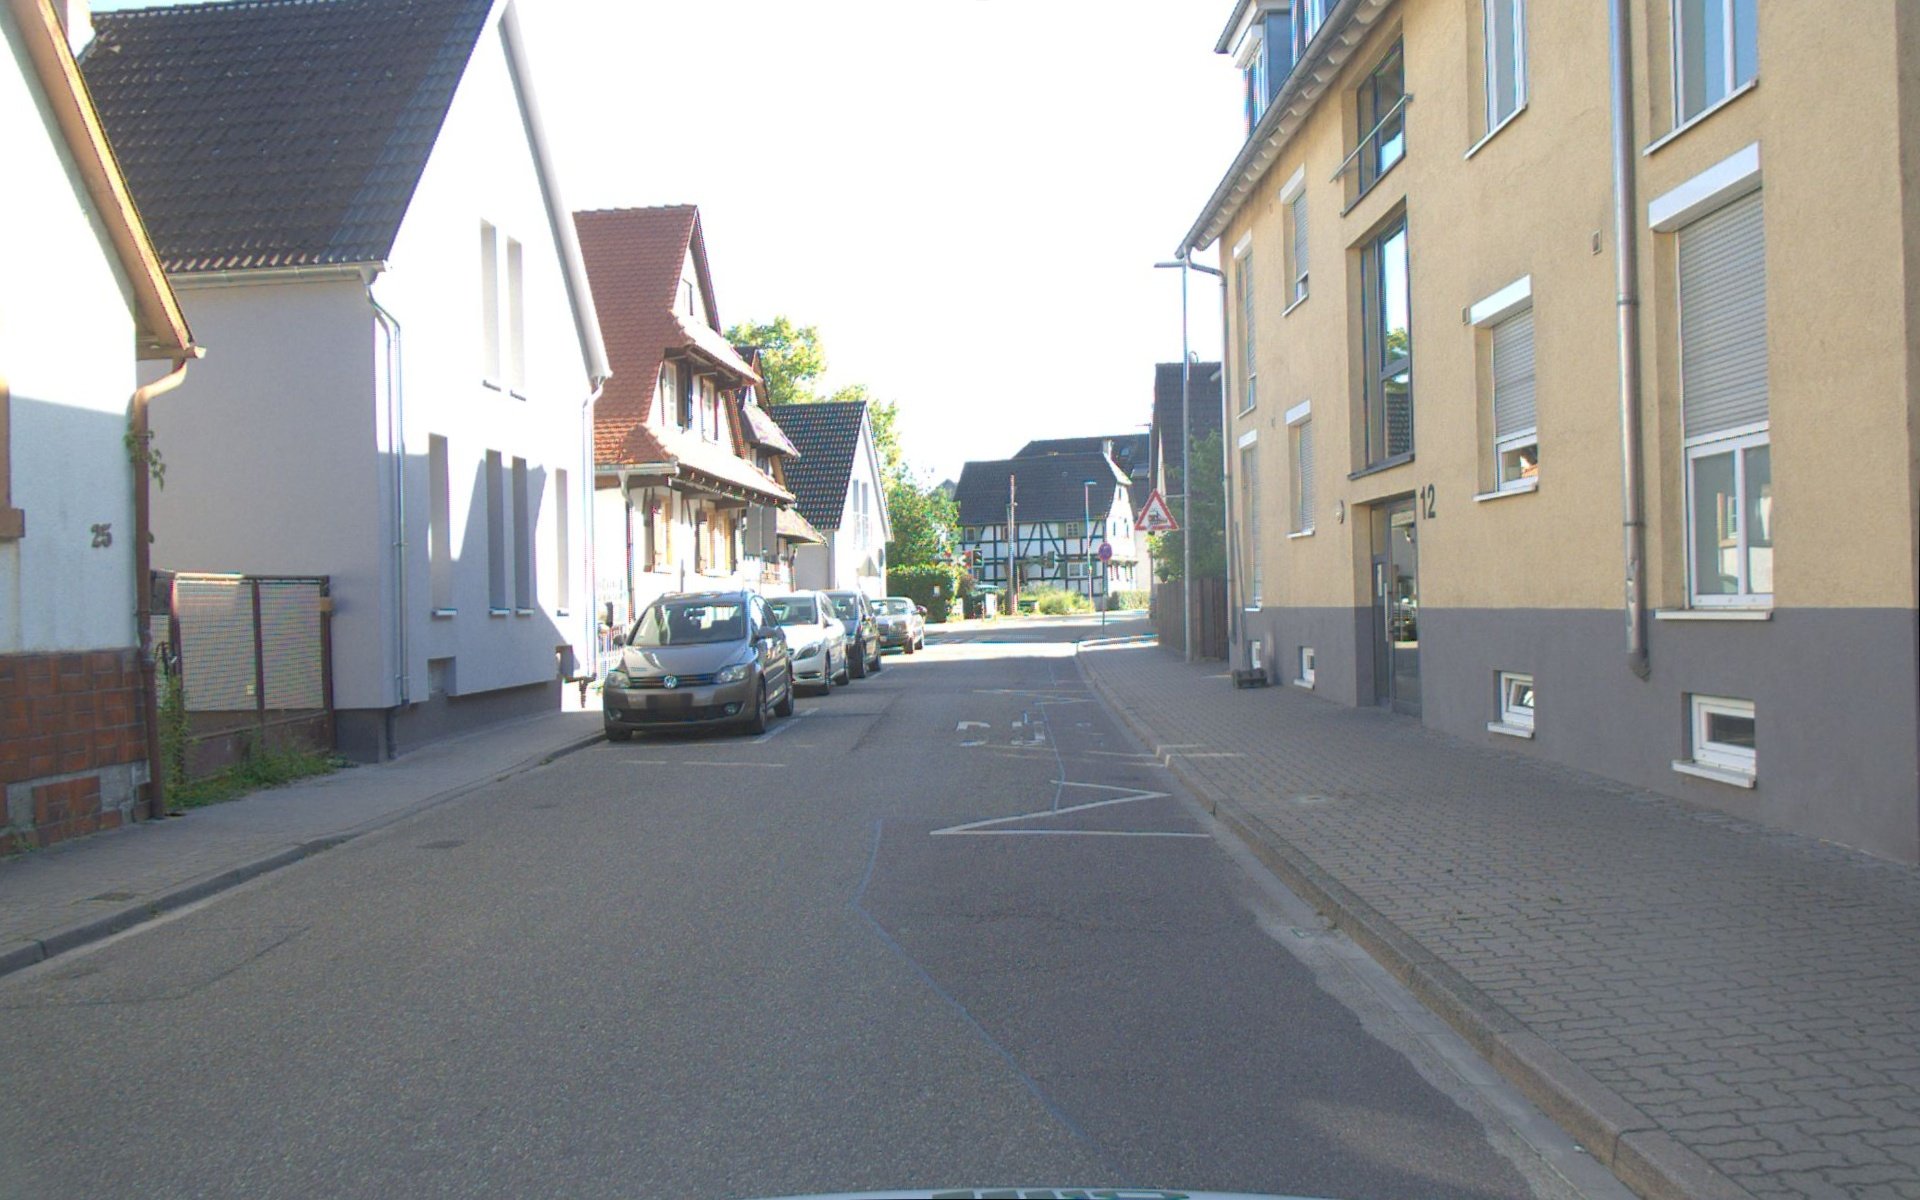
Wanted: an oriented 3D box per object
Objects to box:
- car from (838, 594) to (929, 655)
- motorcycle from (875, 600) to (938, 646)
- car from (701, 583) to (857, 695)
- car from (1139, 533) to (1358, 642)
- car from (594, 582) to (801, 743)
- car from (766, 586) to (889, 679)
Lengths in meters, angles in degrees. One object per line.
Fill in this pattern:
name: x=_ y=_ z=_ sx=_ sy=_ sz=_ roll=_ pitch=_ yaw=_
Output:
car: x=-1.917 y=0.612 z=43.115 sx=1.806 sy=1.430 sz=5.038 roll=-3 pitch=0 yaw=3
motorcycle: x=-1.529 y=0.655 z=46.893 sx=0.621 sy=1.253 sz=1.964 roll=-2 pitch=0 yaw=-42
car: x=-2.784 y=0.587 z=26.323 sx=1.778 sy=1.594 sz=4.170 roll=-1 pitch=0 yaw=3
car: x=8.065 y=-0.332 z=46.600 sx=5.686 sy=2.701 sz=1.967 roll=-3 pitch=-1 yaw=-1
car: x=-2.948 y=0.664 z=19.342 sx=1.706 sy=1.642 sz=4.000 roll=-1 pitch=0 yaw=1
car: x=-2.475 y=0.581 z=31.803 sx=1.746 sy=1.633 sz=4.363 roll=-1 pitch=0 yaw=3
